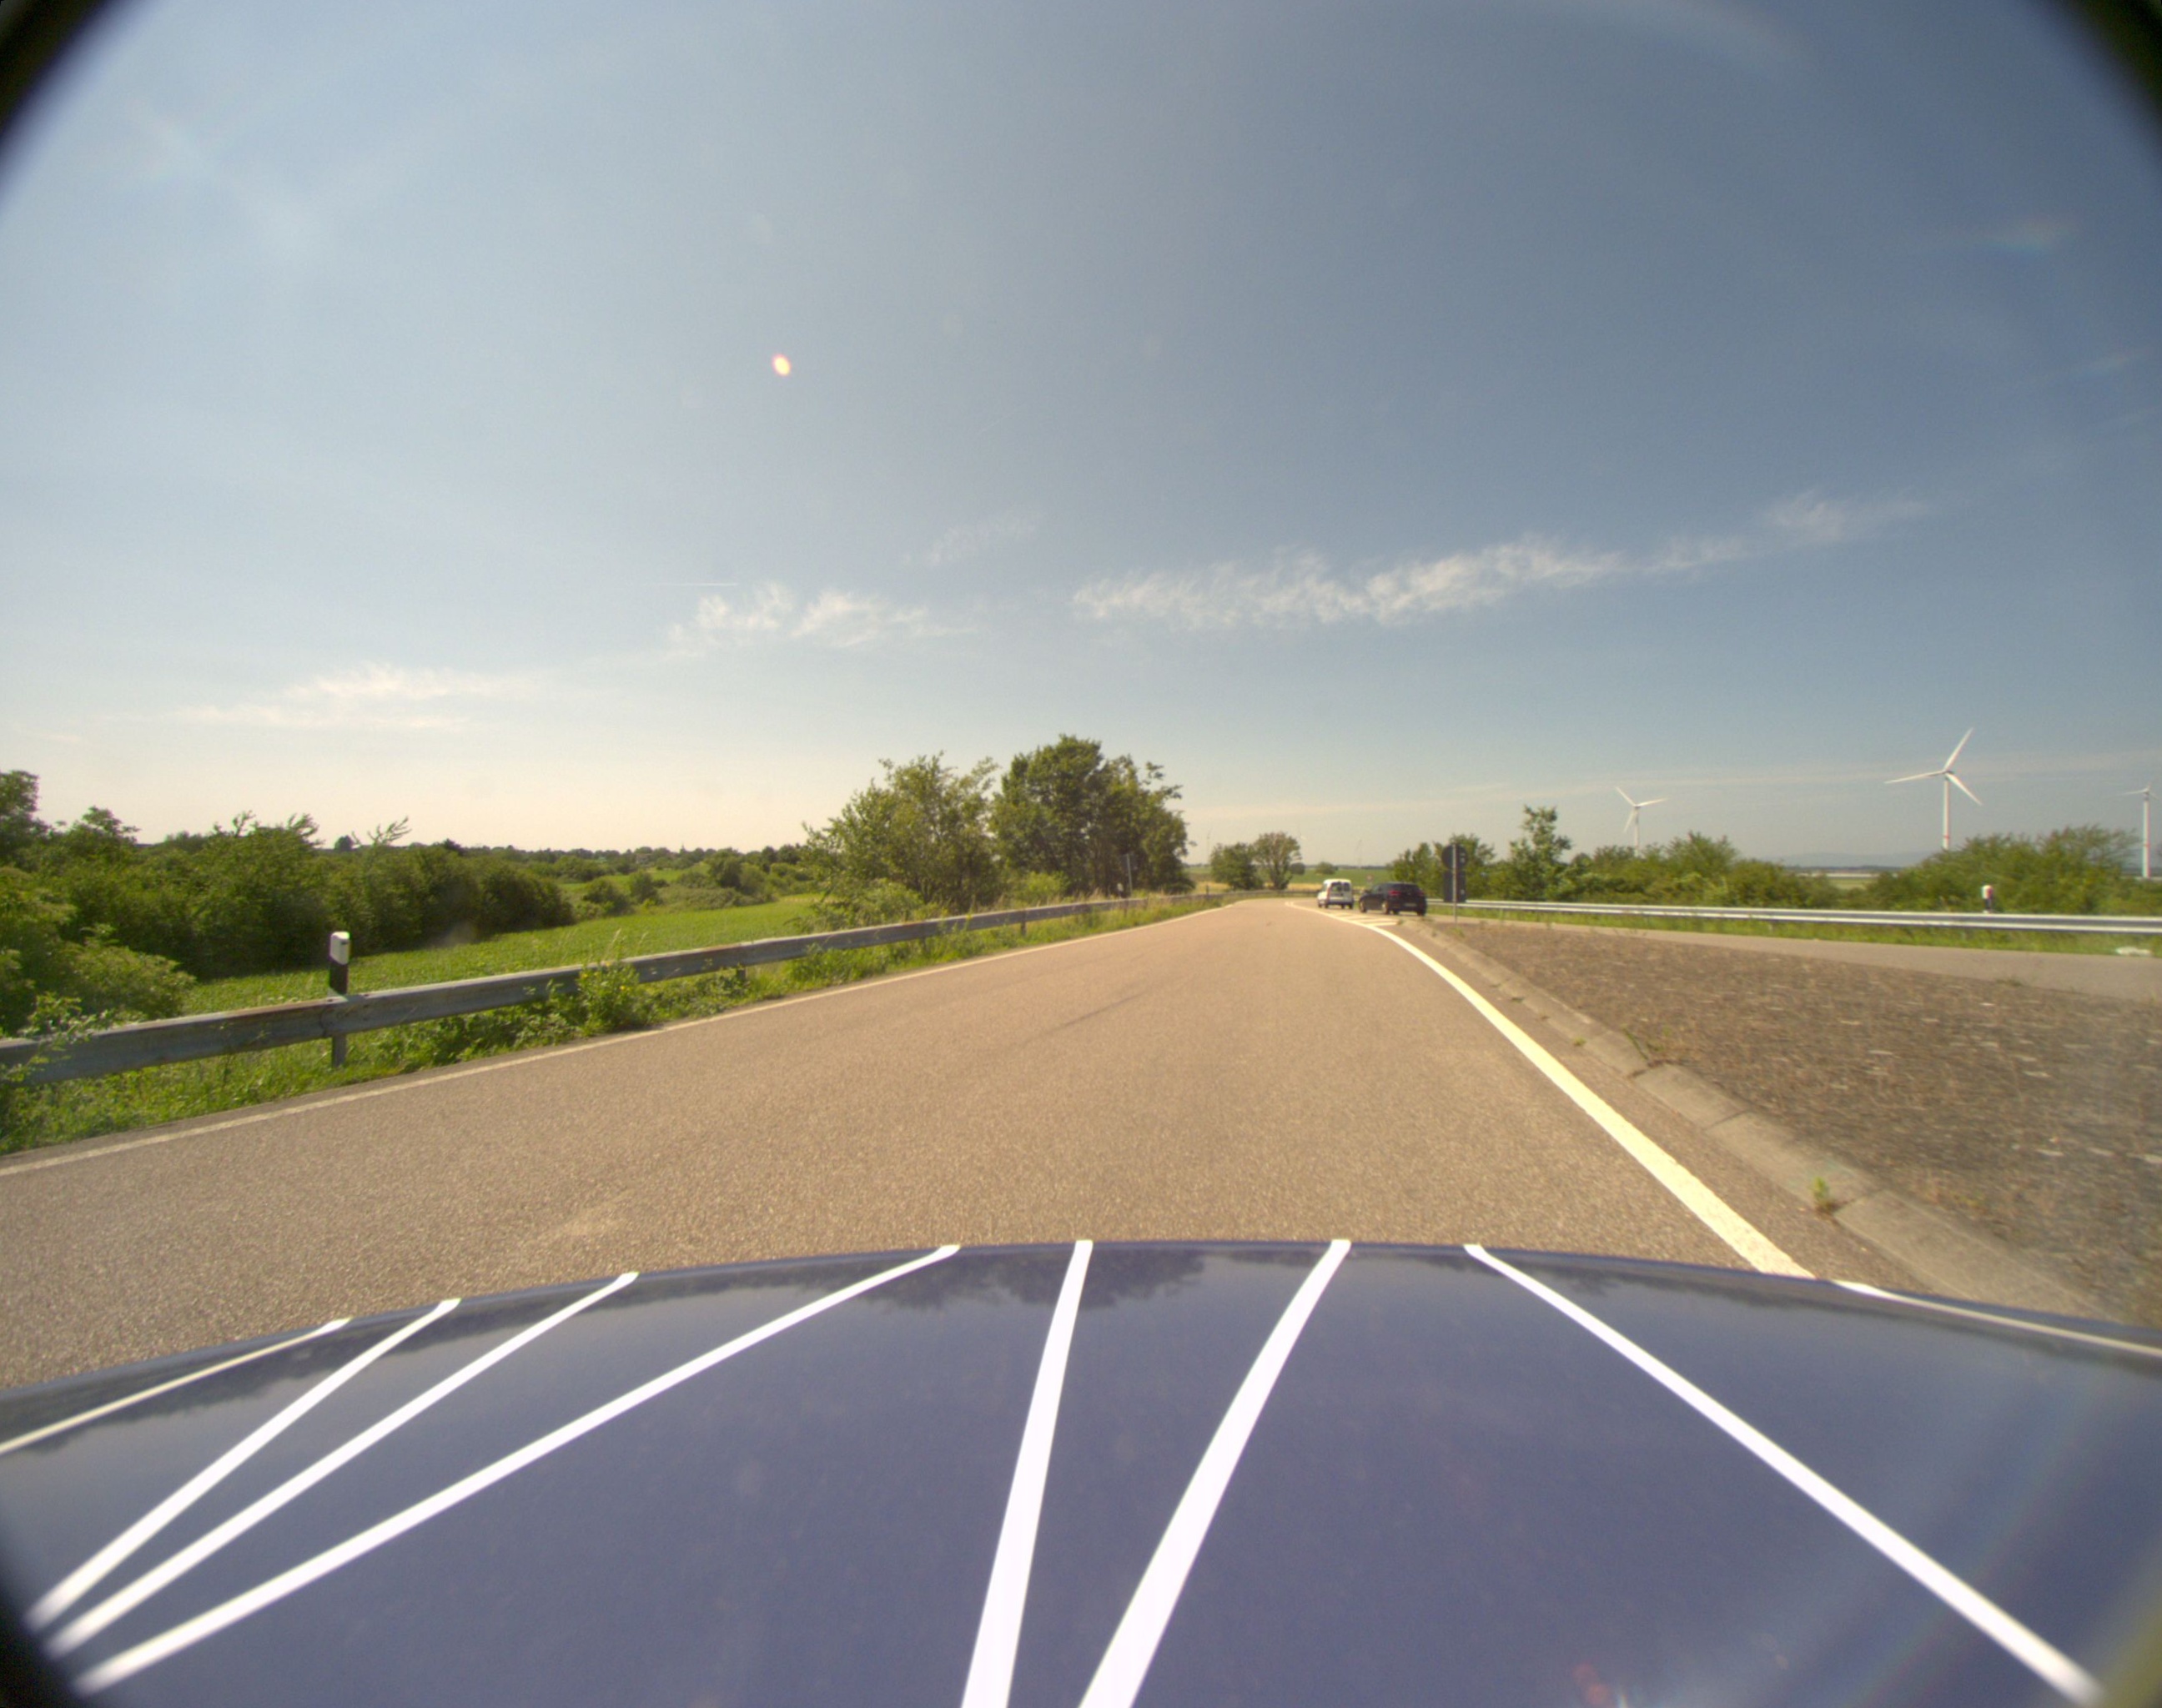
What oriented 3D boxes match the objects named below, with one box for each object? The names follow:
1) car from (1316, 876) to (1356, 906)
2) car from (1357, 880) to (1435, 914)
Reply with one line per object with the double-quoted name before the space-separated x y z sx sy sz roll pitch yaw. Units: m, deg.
"car" 15.691 2.283 46.946 1.739 1.750 4.088 0 -3 9
"car" 13.774 1.869 33.488 1.713 1.387 3.888 2 -3 -1
